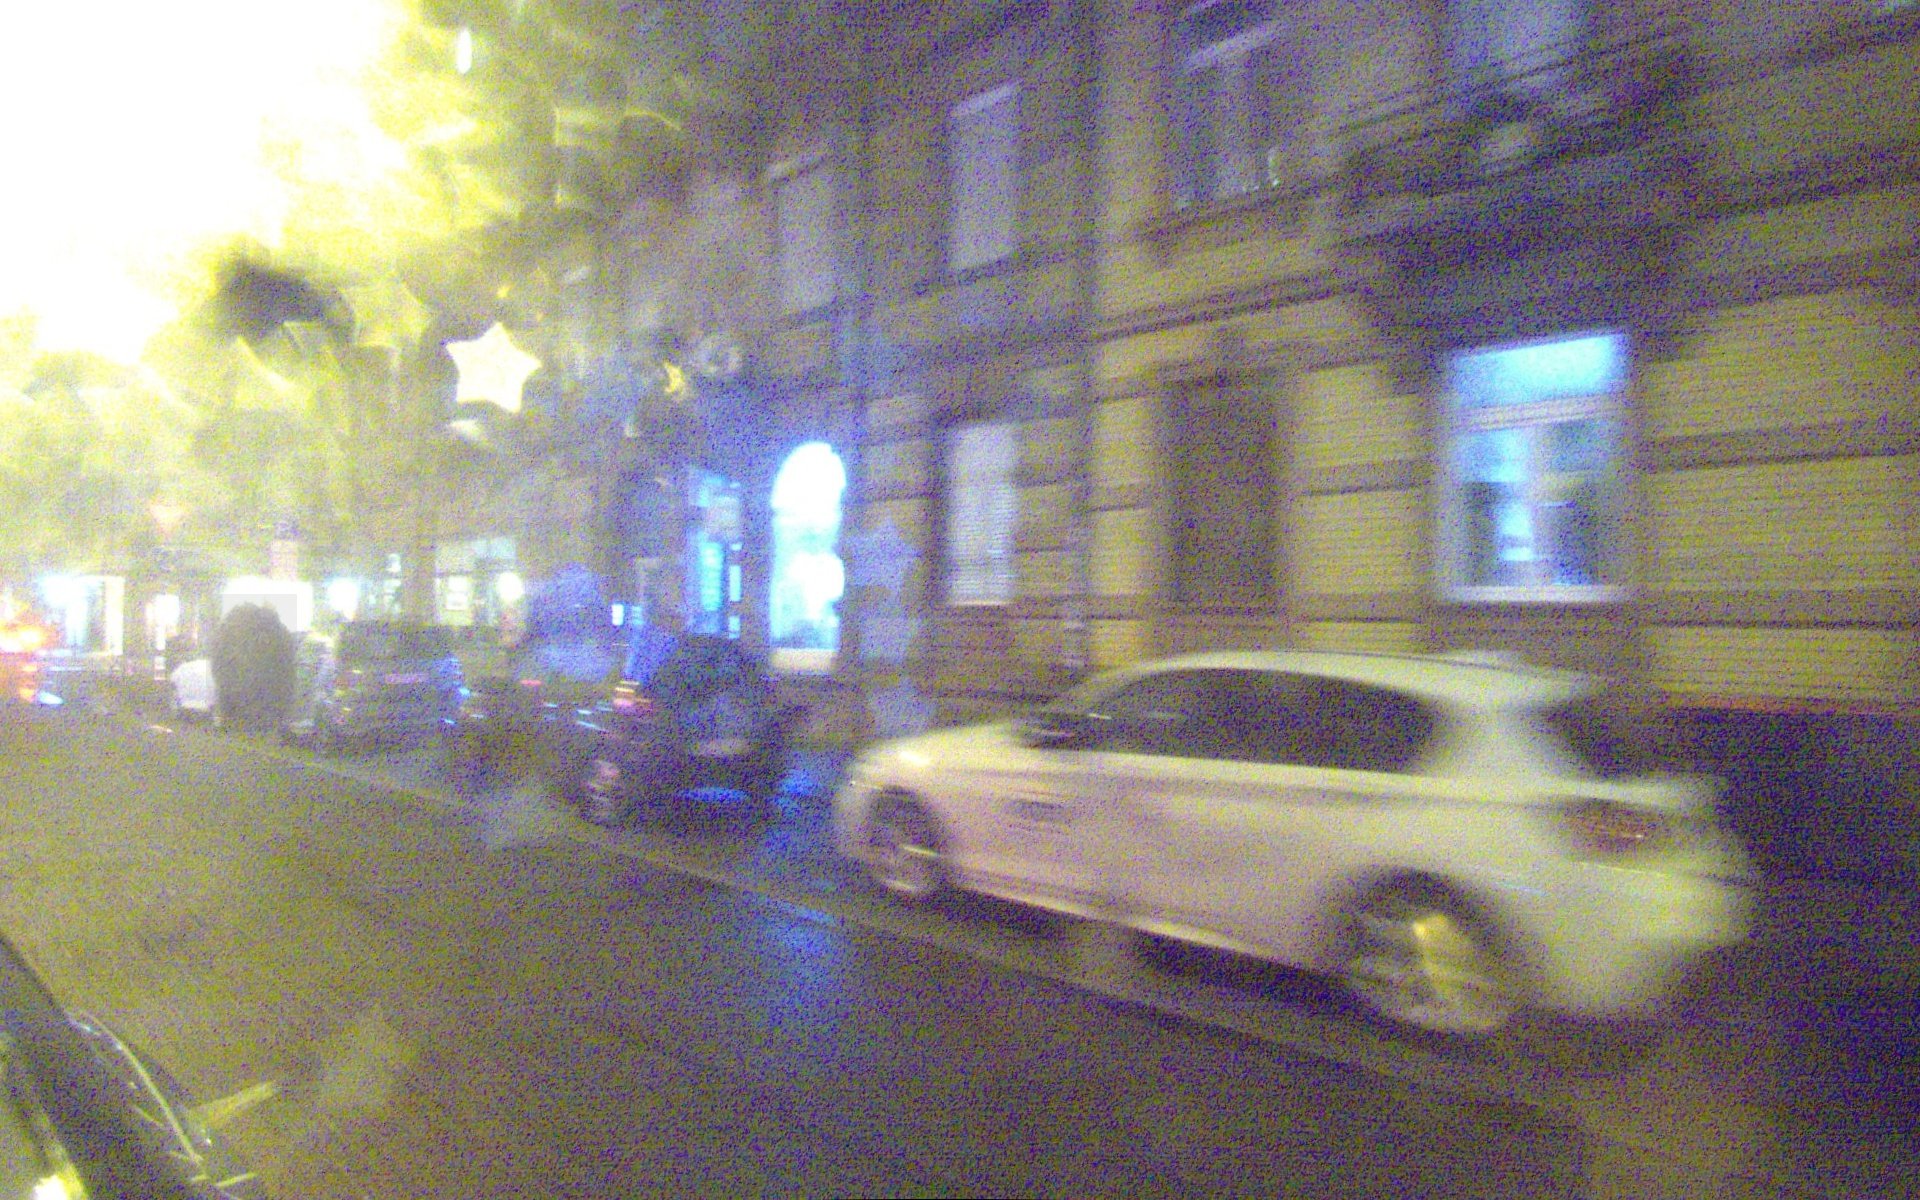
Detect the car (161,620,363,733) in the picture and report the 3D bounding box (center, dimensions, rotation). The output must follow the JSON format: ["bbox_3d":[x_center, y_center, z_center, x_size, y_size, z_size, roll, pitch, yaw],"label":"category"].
[{"bbox_3d":[-10.718,1.113,15.445,3.962,1.490,1.674,-3,-3,42],"label":"car"}]

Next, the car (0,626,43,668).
[{"bbox_3d":[-33.699,1.627,34.876,4.055,1.405,1.860,-2,-3,29],"label":"car"}]

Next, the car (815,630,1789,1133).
[{"bbox_3d":[1.331,0.886,5.041,4.270,1.465,1.709,-1,-2,41],"label":"car"}]

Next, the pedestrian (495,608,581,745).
[{"bbox_3d":[-5.814,1.022,13.954,0.629,1.801,0.900,-1,0,41],"label":"pedestrian"}]

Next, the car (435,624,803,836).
[{"bbox_3d":[-3.036,0.953,8.725,3.382,1.465,1.512,-1,-2,41],"label":"car"}]

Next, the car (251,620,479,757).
[{"bbox_3d":[-7.625,1.051,12.866,3.385,1.490,1.673,-3,-4,45],"label":"car"}]
